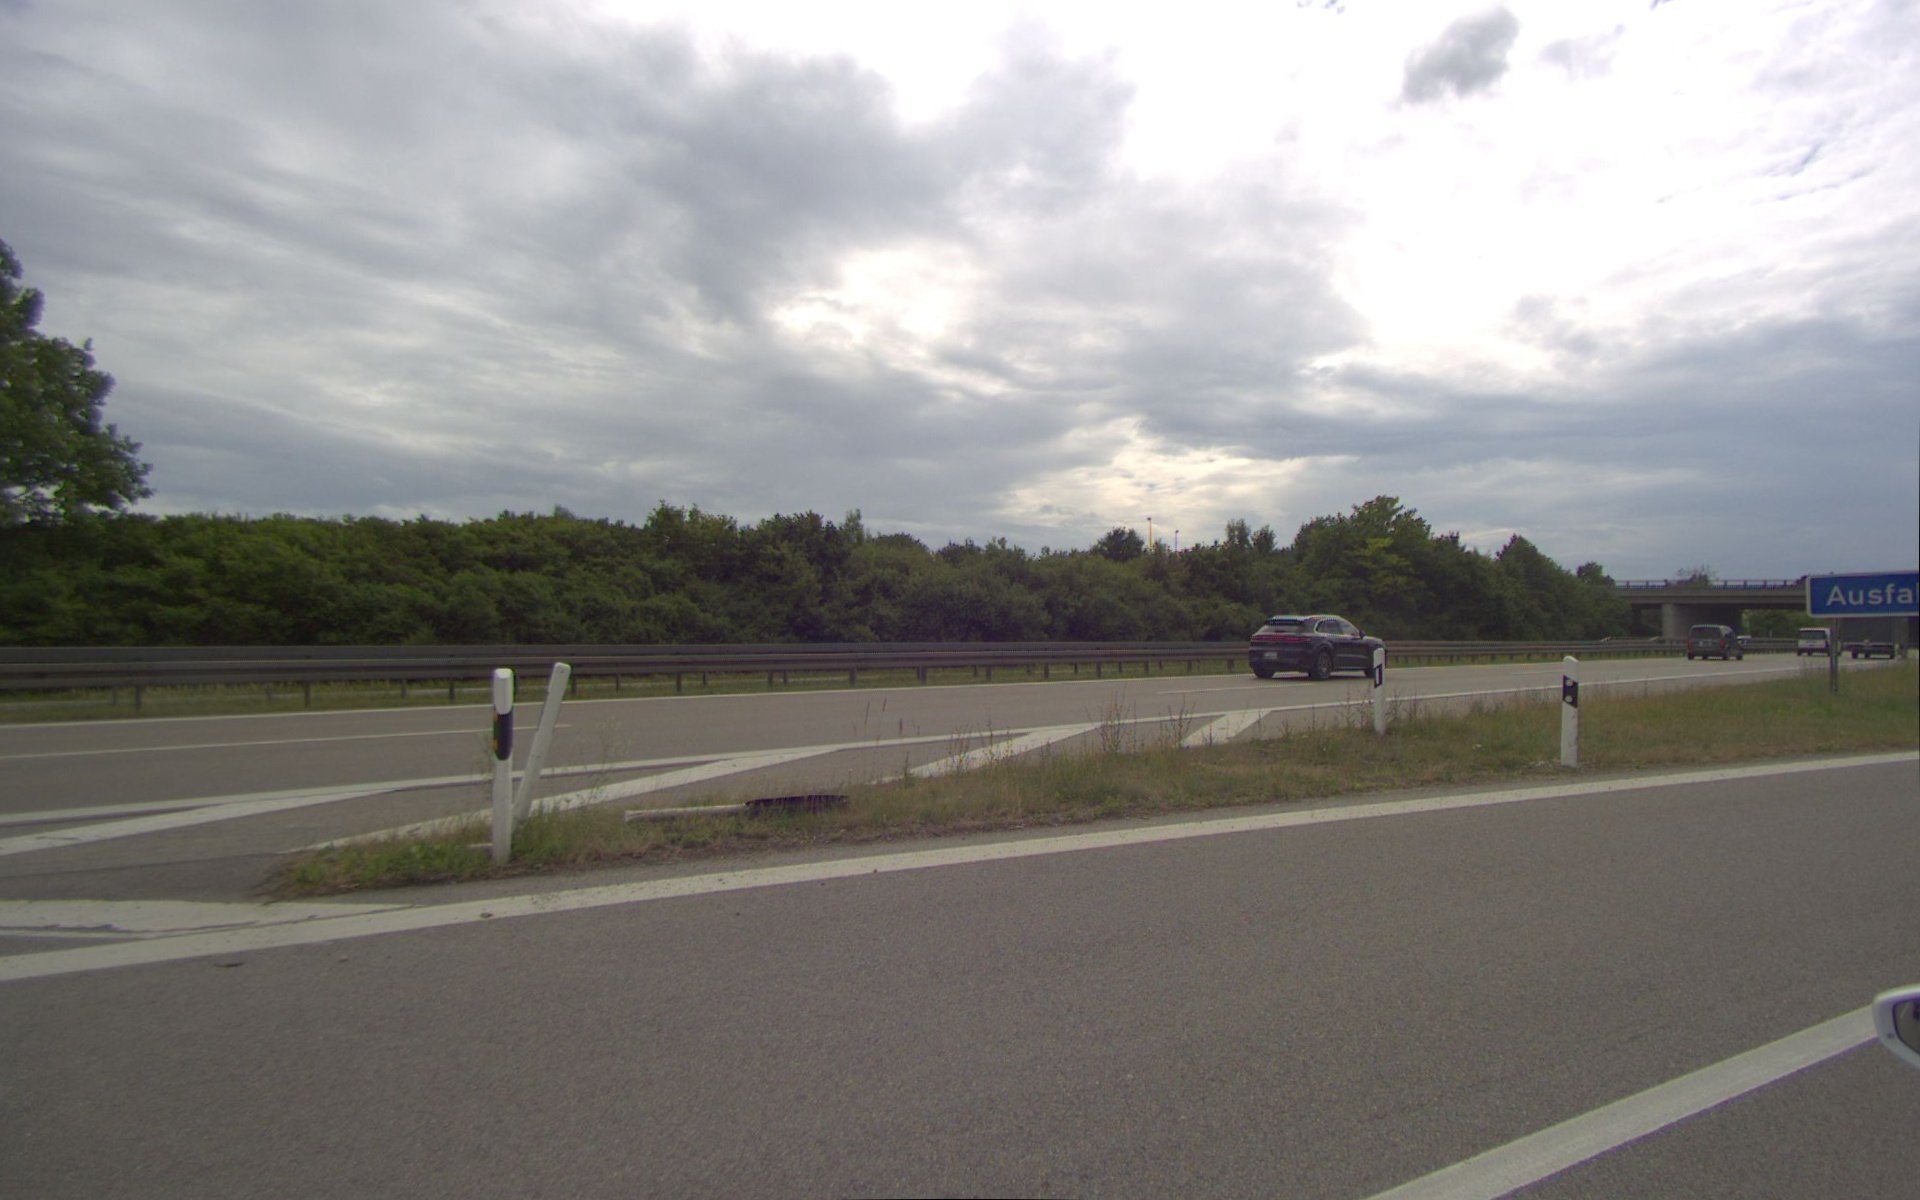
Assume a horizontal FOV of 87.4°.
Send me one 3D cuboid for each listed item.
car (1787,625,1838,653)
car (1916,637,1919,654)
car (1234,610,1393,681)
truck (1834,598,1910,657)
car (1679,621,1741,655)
[{"bbox_3d":[57.826,2.645,68.116,3.967,1.834,1.977,2,-2,-40],"label":"car"},{"bbox_3d":[106.829,4.993,110.369,5.367,1.809,1.977,2,-2,-40],"label":"car"},{"bbox_3d":[9.723,1.225,27.493,4.790,1.766,1.977,2,-3,-40],"label":"car"},{"bbox_3d":[55.923,1.741,61.526,7.861,3.415,2.447,2,-3,-41],"label":"truck"},{"bbox_3d":[40.336,2.034,53.999,4.302,1.782,1.829,2,-2,-41],"label":"car"}]
